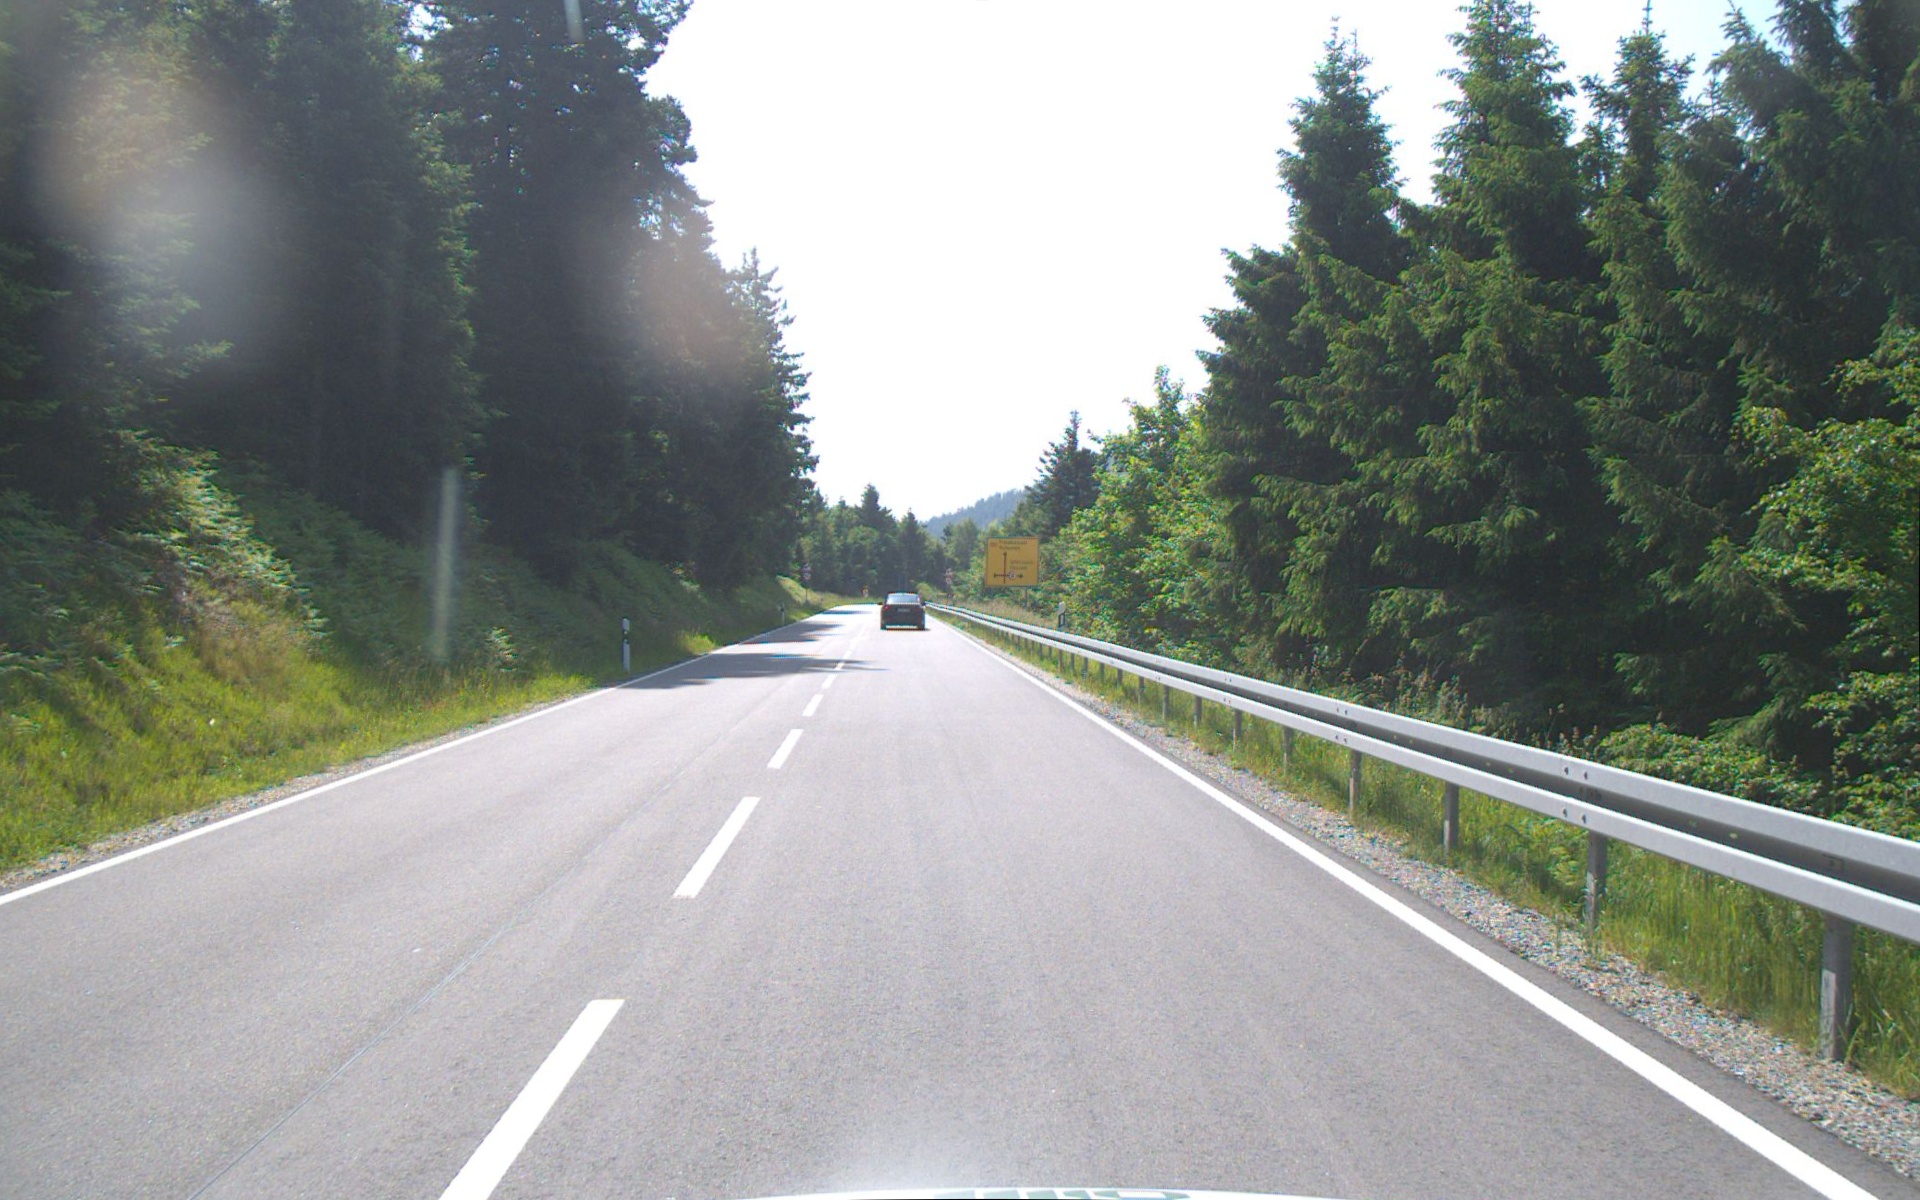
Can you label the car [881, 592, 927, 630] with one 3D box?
[{"bbox_3d":[-2.259,0.436,66.298,1.740,1.467,3.706,-1,0,-3],"label":"car"}]
